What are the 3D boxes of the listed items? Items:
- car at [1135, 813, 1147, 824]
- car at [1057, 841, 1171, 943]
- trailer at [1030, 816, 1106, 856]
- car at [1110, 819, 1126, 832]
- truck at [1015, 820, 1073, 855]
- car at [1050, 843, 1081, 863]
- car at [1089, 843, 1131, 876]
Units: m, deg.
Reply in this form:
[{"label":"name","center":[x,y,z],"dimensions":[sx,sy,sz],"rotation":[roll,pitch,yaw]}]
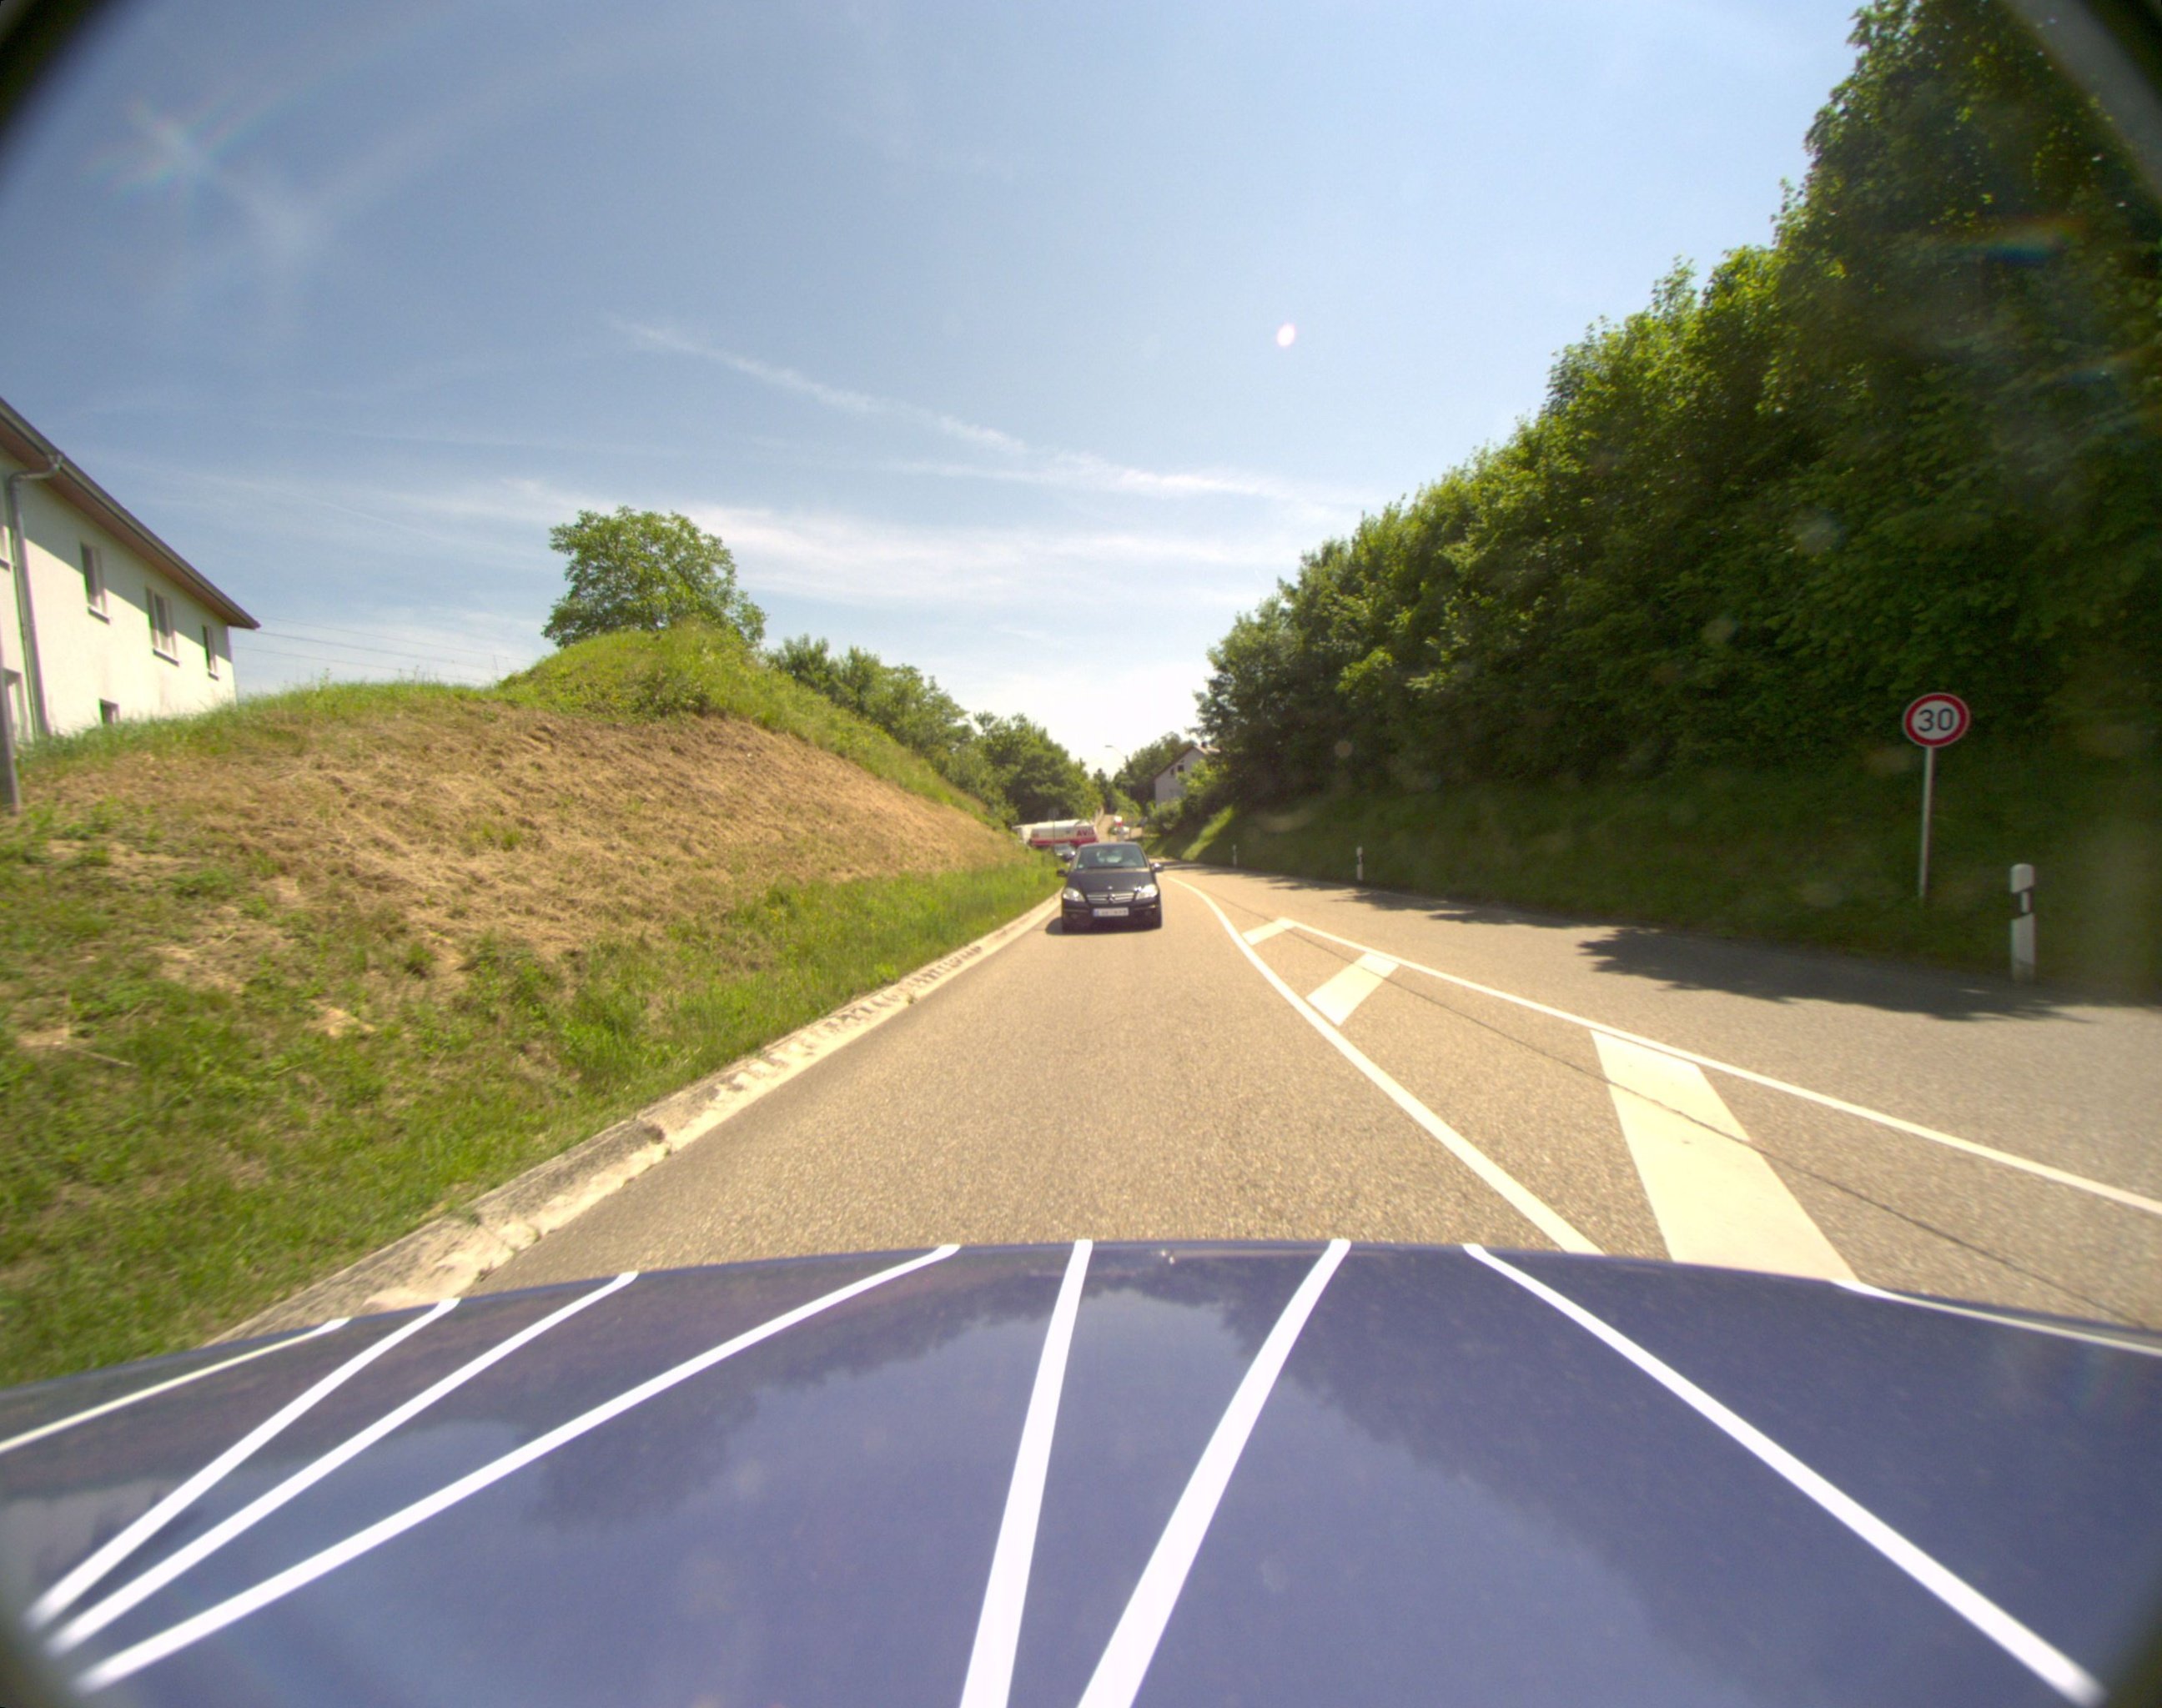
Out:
[{"label":"car","center":[10.074,-6.008,127.970],"dimensions":[1.749,1.382,3.997],"rotation":[-4,6,4]},{"label":"car","center":[0.627,0.599,14.461],"dimensions":[1.795,1.570,3.799],"rotation":[-3,1,3]},{"label":"trailer","center":[-1.432,-1.609,70.622],"dimensions":[2.644,3.354,11.118],"rotation":[-4,2,-25]},{"label":"car","center":[5.450,-4.238,112.038],"dimensions":[1.997,1.499,3.998],"rotation":[-4,5,7]},{"label":"truck","center":[-3.742,-1.573,74.787],"dimensions":[2.638,3.153,7.050],"rotation":[-4,2,-31]},{"label":"car","center":[-1.195,-0.113,56.934],"dimensions":[1.756,1.281,4.141],"rotation":[-3,2,-7]},{"label":"car","center":[1.191,0.216,32.578],"dimensions":[1.647,1.315,3.438],"rotation":[1,1,0]}]
